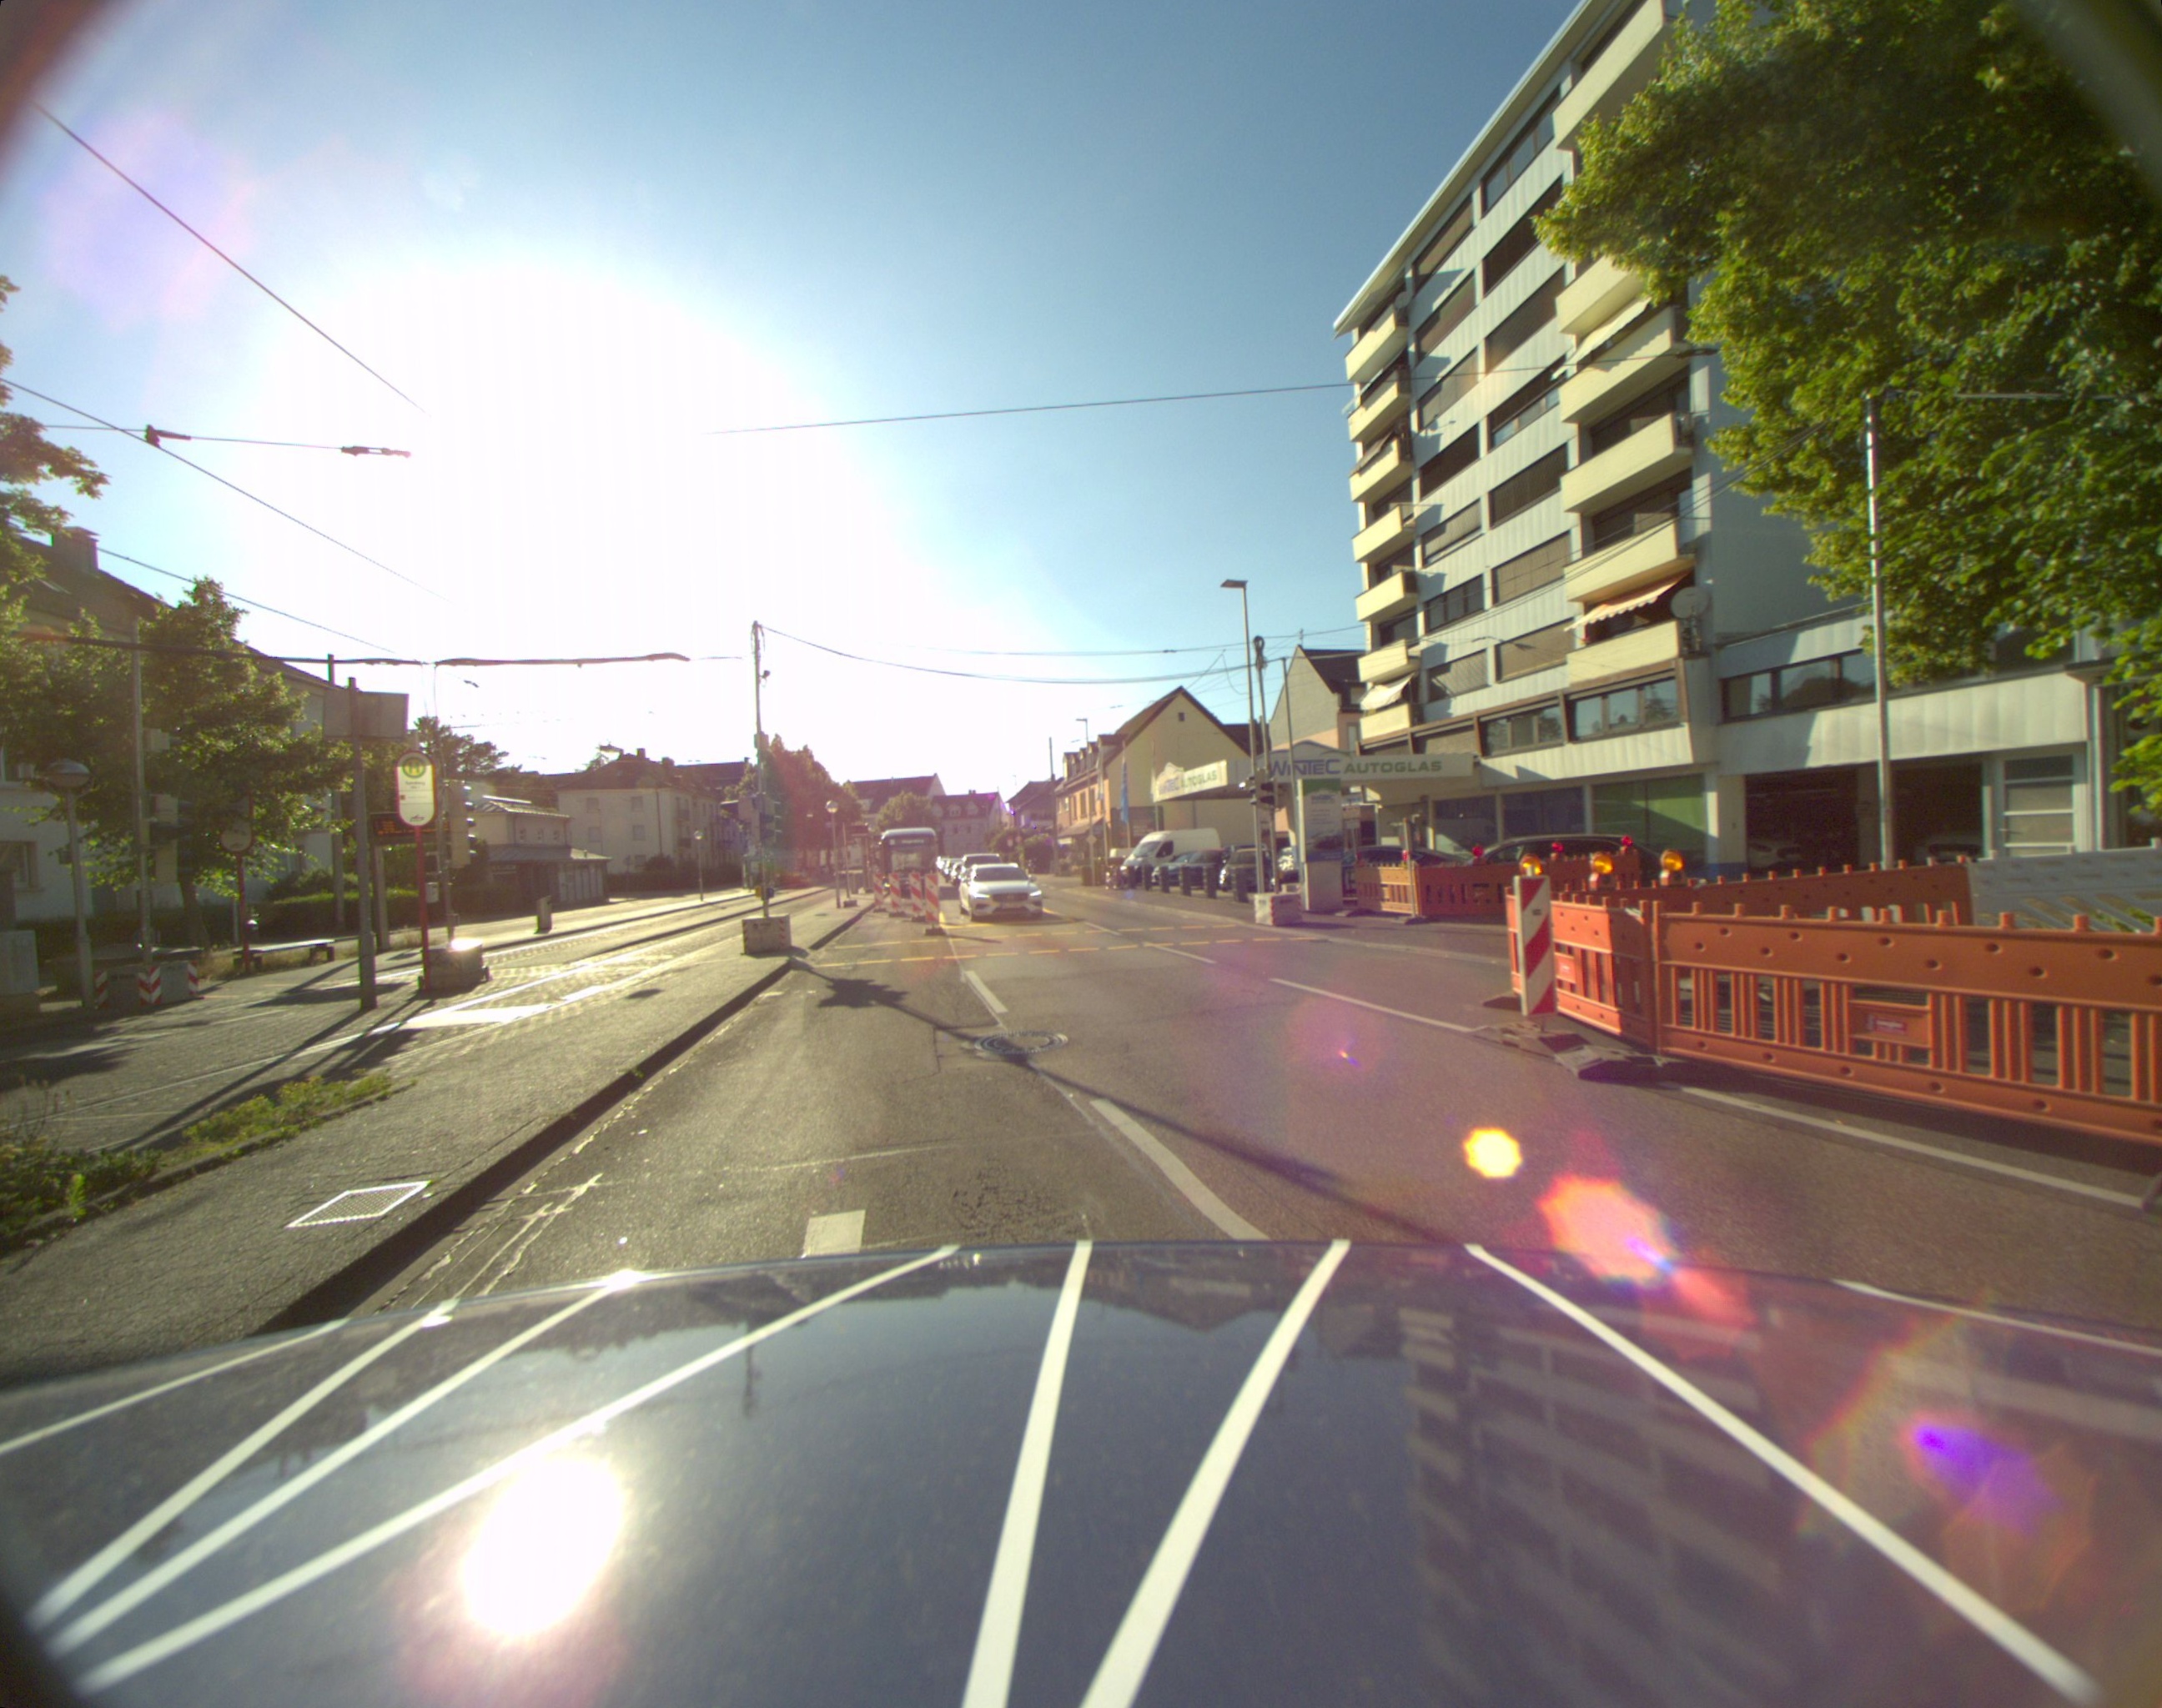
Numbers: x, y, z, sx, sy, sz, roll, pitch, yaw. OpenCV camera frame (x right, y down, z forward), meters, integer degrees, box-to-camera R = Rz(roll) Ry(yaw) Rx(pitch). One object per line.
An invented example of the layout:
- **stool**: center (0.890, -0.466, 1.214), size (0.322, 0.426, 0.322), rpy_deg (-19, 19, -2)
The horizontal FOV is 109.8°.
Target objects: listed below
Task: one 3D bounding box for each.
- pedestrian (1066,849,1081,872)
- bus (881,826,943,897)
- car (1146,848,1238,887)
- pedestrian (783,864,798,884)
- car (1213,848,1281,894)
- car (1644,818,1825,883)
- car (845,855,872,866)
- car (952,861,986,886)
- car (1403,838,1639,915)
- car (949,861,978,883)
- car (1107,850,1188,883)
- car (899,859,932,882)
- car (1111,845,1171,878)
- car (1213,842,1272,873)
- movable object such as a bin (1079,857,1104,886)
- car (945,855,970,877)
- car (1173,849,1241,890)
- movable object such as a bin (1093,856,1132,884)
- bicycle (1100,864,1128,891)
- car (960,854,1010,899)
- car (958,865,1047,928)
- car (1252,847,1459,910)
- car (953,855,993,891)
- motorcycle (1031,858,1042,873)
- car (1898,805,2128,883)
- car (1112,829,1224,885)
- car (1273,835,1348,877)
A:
- **pedestrian**: center (-0.558, 0.519, 57.809), size (0.811, 1.703, 0.858), rpy_deg (-2, 1, -25)
- **bus**: center (-9.153, 0.372, 42.108), size (2.751, 3.284, 12.020), rpy_deg (-2, 0, -11)
- **car**: center (5.010, 0.572, 33.961), size (4.038, 1.488, 1.738), rpy_deg (-3, 1, -39)
- **pedestrian**: center (-23.093, 1.586, 60.423), size (0.827, 1.601, 0.840), rpy_deg (-3, 1, -45)
- **car**: center (6.152, 0.585, 27.902), size (1.538, 1.478, 3.379), rpy_deg (-2, 1, 28)
- **car**: center (18.660, -0.092, 21.918), size (1.724, 1.664, 3.627), rpy_deg (-2, 1, -13)
- **car**: center (-42.444, 1.228, 144.818), size (4.588, 1.845, 1.742), rpy_deg (-2, 1, 5)
- **car**: center (-7.179, 1.182, 48.521), size (1.971, 1.450, 4.820), rpy_deg (-2, 0, -10)
- **car**: center (8.911, 0.460, 15.682), size (3.878, 1.430, 1.597), rpy_deg (-2, 0, 9)
- **car**: center (-8.649, 1.268, 55.548), size (1.971, 1.450, 4.820), rpy_deg (-2, 0, -10)
- **car**: center (3.477, 0.642, 39.301), size (4.038, 1.469, 1.738), rpy_deg (-3, 1, -39)
- **car**: center (-11.160, 1.081, 51.552), size (1.971, 1.450, 4.820), rpy_deg (-2, 0, -10)
- **car**: center (3.977, 0.489, 50.757), size (3.675, 2.002, 1.450), rpy_deg (-2, 1, -13)
- **car**: center (11.097, 0.237, 52.272), size (3.675, 2.002, 1.450), rpy_deg (-2, 1, -13)
- **movable object such as a bin**: center (0.569, 0.912, 39.976), size (1.046, 1.456, 0.797), rpy_deg (-2, 1, 21)
- **car**: center (-10.457, 0.967, 64.171), size (1.971, 1.694, 4.820), rpy_deg (-2, 0, -10)
- **car**: center (5.163, 0.592, 30.893), size (1.591, 1.488, 3.441), rpy_deg (-2, 1, 29)
- **movable object such as a bin**: center (1.727, 0.864, 41.173), size (1.799, 1.456, 1.046), rpy_deg (-2, 1, -36)
- **bicycle**: center (1.441, 1.015, 33.392), size (0.726, 1.080, 1.790), rpy_deg (-3, 1, -14)
- **car**: center (-4.380, 0.936, 34.071), size (1.971, 1.816, 5.029), rpy_deg (-2, 0, -10)
- **car**: center (-2.248, 1.059, 20.724), size (1.823, 1.445, 4.212), rpy_deg (-2, 0, -14)
- **car**: center (6.996, 0.615, 19.506), size (4.676, 1.430, 1.936), rpy_deg (-2, 0, 31)
- **car**: center (-6.047, 1.002, 41.978), size (1.971, 1.816, 5.029), rpy_deg (-2, 0, -10)
- **motorcycle**: center (-3.763, 0.936, 63.735), size (0.709, 1.210, 2.184), rpy_deg (-2, 1, -8)
- **car**: center (22.263, -0.241, 18.231), size (3.753, 1.599, 1.571), rpy_deg (-3, 1, -3)
- **car**: center (4.200, 0.104, 36.406), size (5.000, 2.440, 2.110), rpy_deg (-3, 1, -33)
- **car**: center (11.377, 0.094, 37.981), size (1.743, 1.933, 4.254), rpy_deg (-3, 1, -11)
